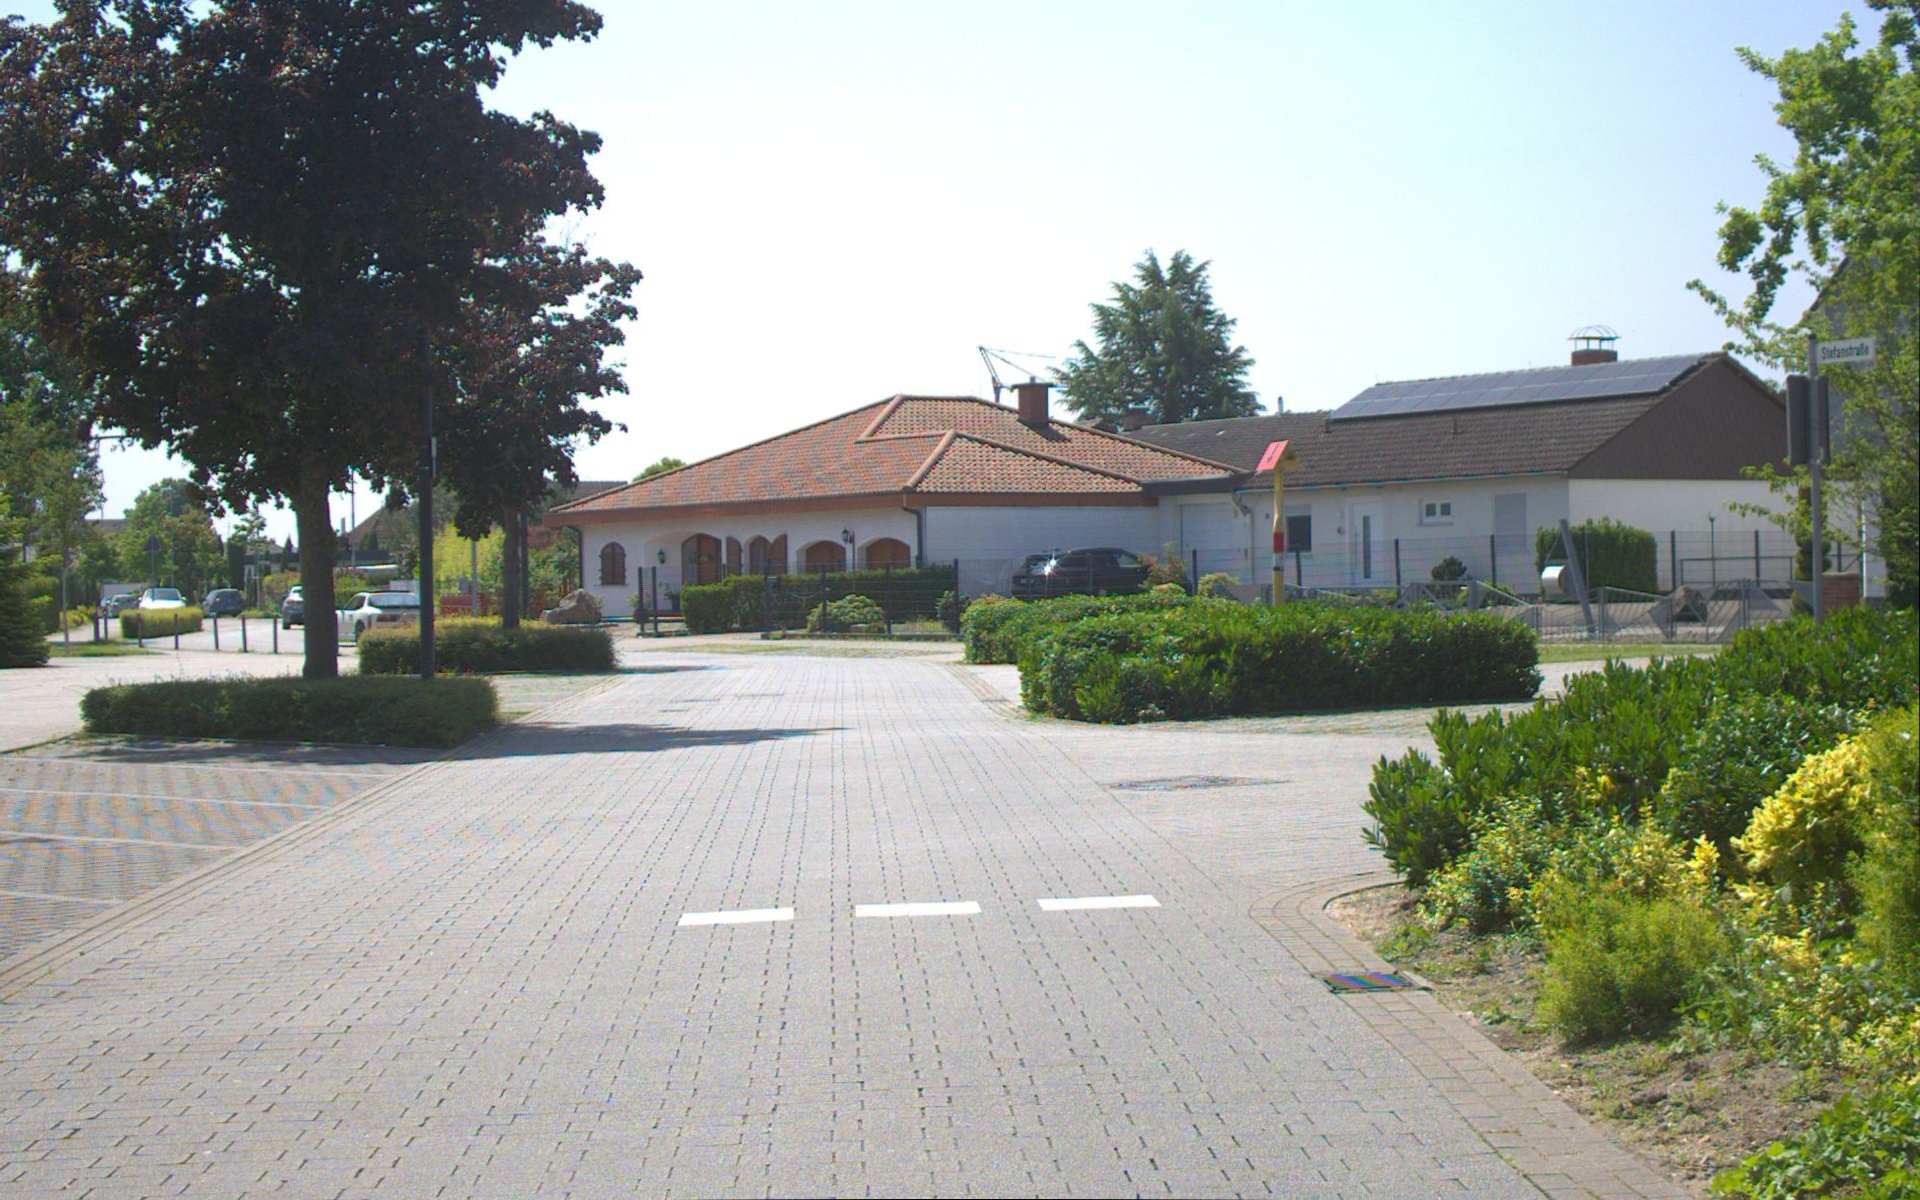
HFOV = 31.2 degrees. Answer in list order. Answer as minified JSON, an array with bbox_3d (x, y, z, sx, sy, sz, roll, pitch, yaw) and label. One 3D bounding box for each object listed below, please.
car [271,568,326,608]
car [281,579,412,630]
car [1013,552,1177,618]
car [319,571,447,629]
[{"bbox_3d":[-21.998,-0.395,114.395,1.614,1.284,3.557,-1,0,-9],"label":"car"},{"bbox_3d":[-16.068,0.111,89.938,1.994,1.284,4.000,-1,0,-32],"label":"car"},{"bbox_3d":[3.282,-0.366,83.162,1.853,1.537,3.826,-1,0,44],"label":"car"},{"bbox_3d":[-13.194,-0.002,78.501,1.614,1.284,3.556,-1,0,-33],"label":"car"}]
